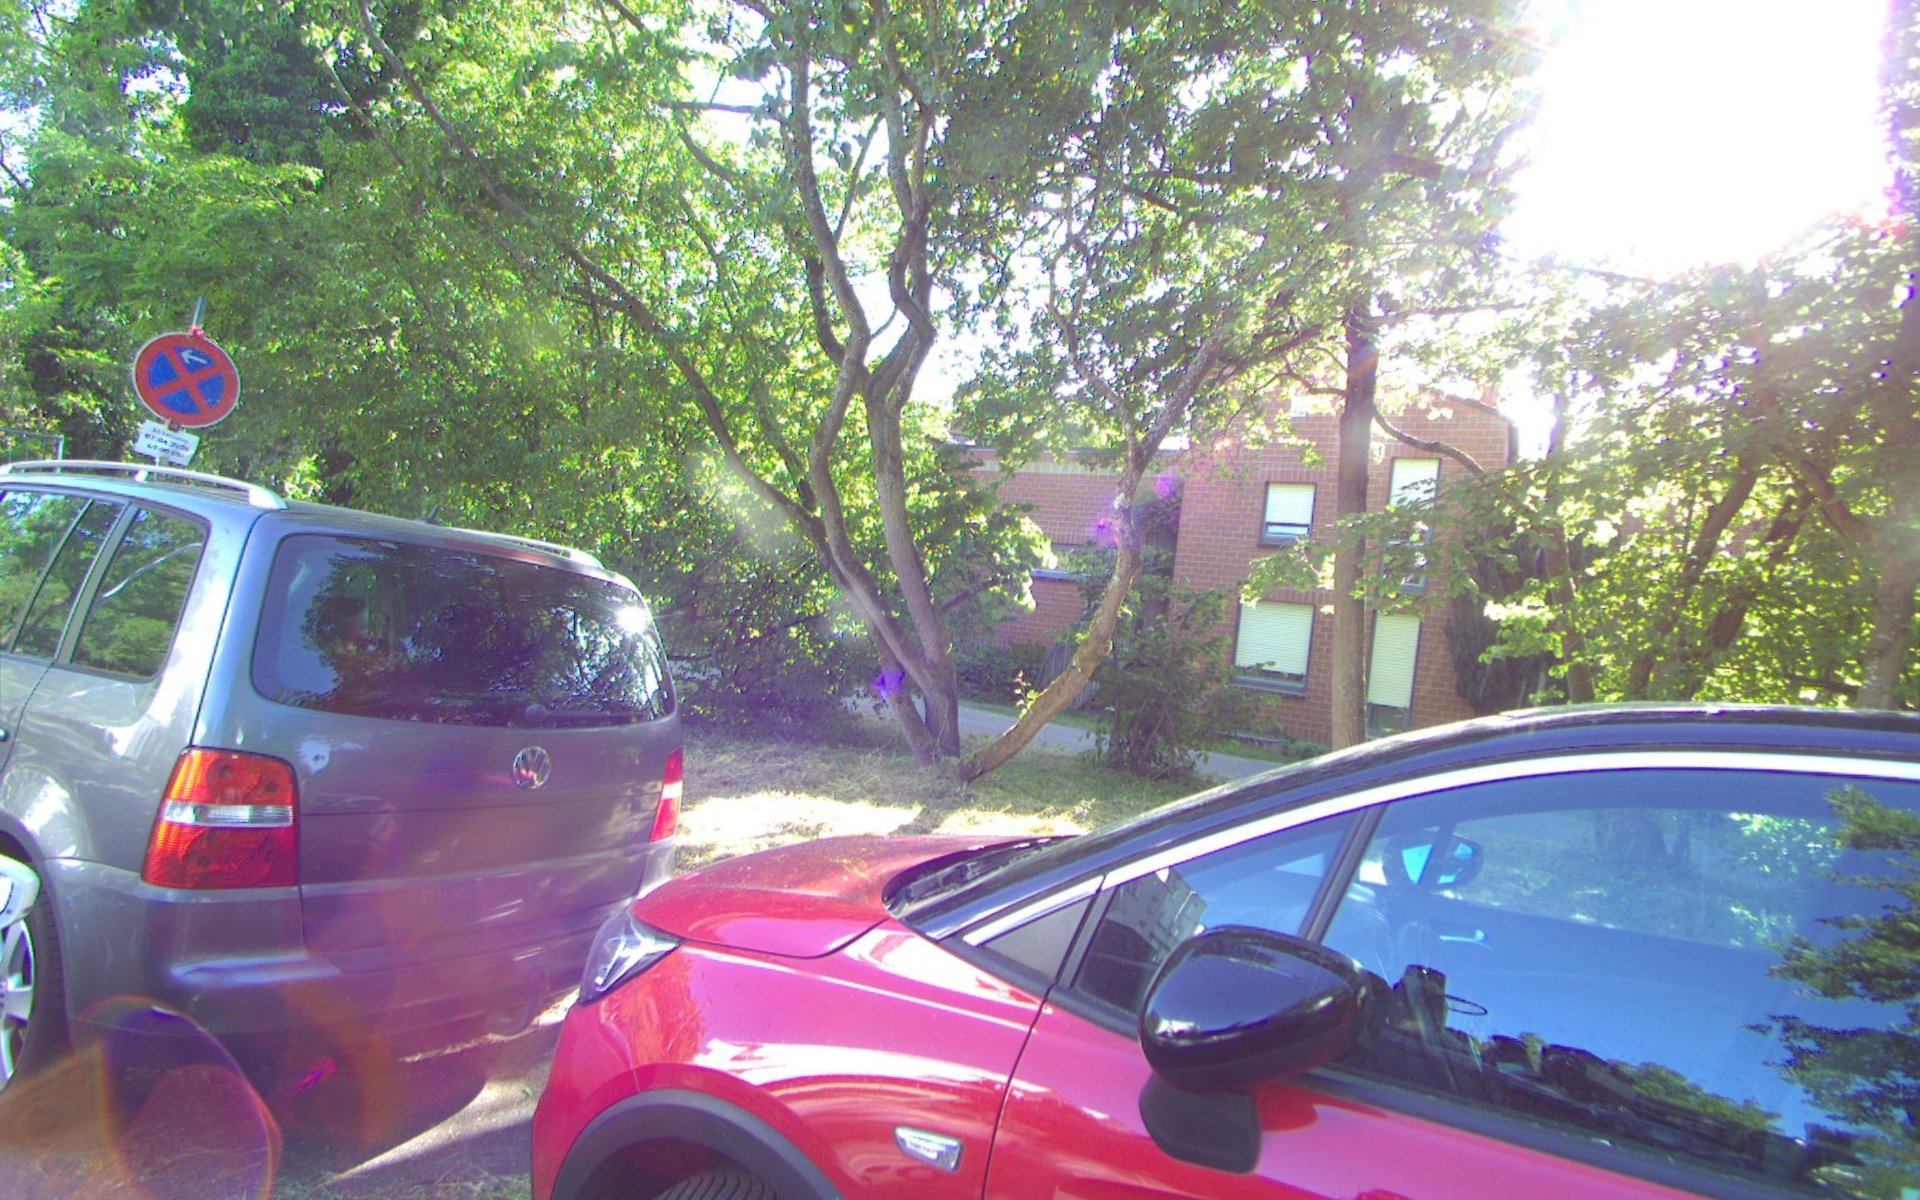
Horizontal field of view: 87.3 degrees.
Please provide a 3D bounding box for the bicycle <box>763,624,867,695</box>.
[{"bbox_3d":[-2.665,1.077,18.410,1.755,1.052,0.633,7,-1,30],"label":"bicycle"}]

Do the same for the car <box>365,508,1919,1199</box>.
[{"bbox_3d":[1.062,0.909,1.556,3.999,1.592,1.682,7,-2,32],"label":"car"}]

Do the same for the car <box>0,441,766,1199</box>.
[{"bbox_3d":[-2.924,0.409,3.721,4.067,1.640,1.683,7,-2,30],"label":"car"}]

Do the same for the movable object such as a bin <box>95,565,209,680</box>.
[{"bbox_3d":[-6.788,0.191,8.459,0.550,0.871,0.485,7,-1,28],"label":"movable object such as a bin"}]
